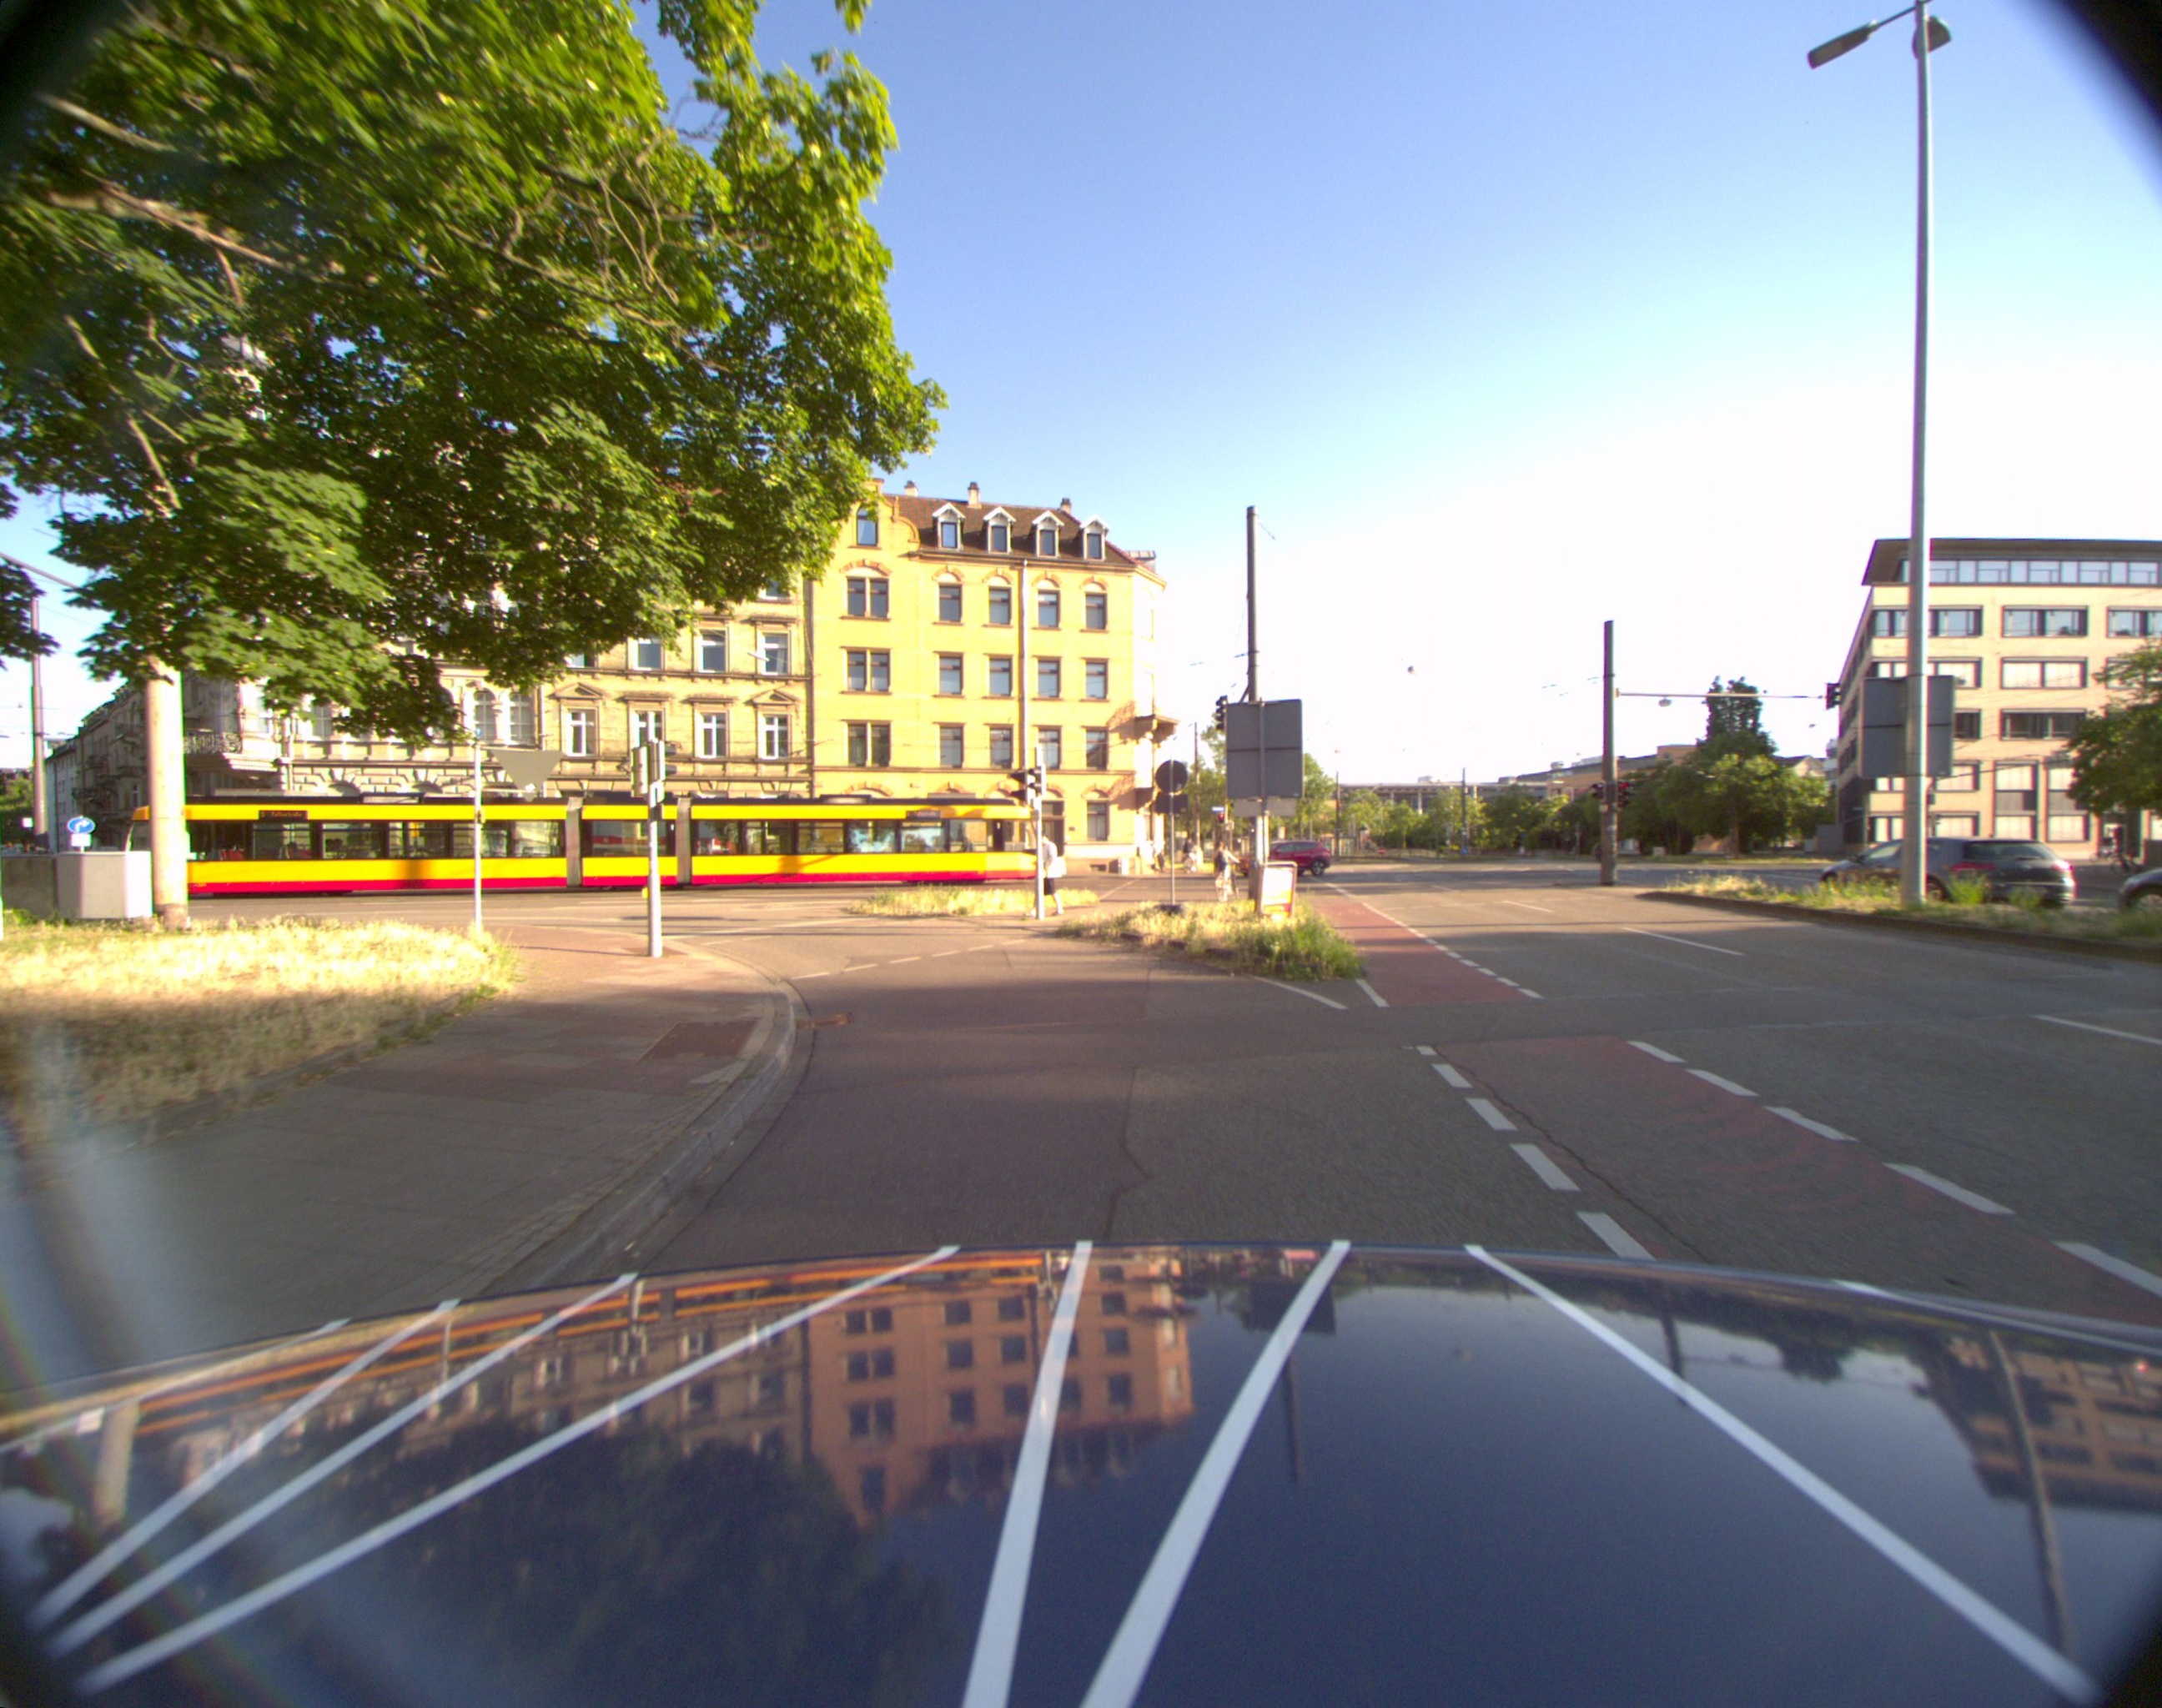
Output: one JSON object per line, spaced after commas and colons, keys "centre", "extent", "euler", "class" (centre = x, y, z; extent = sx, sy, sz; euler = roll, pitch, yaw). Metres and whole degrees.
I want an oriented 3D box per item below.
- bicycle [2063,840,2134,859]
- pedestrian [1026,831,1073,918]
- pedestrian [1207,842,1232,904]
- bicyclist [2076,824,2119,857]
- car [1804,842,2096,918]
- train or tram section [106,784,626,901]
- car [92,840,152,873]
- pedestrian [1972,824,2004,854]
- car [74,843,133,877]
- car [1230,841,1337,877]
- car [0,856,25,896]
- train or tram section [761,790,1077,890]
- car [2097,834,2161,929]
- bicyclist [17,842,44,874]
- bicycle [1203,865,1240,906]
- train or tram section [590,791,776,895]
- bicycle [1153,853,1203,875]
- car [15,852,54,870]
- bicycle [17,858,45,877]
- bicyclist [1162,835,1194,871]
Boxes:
{"centre": [62.009, -0.267, 46.333], "extent": [2.824, 1.129, 1.012], "euler": [0, 2, 2], "class": "bicycle"}
{"centre": [-0.648, 0.414, 15.945], "extent": [0.826, 1.778, 0.912], "euler": [0, 1, 8], "class": "pedestrian"}
{"centre": [3.688, 0.501, 20.274], "extent": [0.488, 1.622, 0.526], "euler": [0, 1, 32], "class": "pedestrian"}
{"centre": [61.934, -0.806, 46.311], "extent": [1.250, 2.002, 0.995], "euler": [0, 1, 1], "class": "bicyclist"}
{"centre": [16.839, 0.420, 15.104], "extent": [1.721, 1.289, 4.253], "euler": [0, 1, 15], "class": "car"}
{"centre": [-23.046, -0.416, 25.511], "extent": [13.019, 3.488, 2.866], "euler": [-1, 1, -12], "class": "train or tram section"}
{"centre": [-50.543, 0.113, 40.094], "extent": [3.988, 1.652, 1.742], "euler": [0, 1, 41], "class": "car"}
{"centre": [60.652, -1.015, 50.816], "extent": [0.988, 2.002, 0.930], "euler": [-1, 1, -1], "class": "pedestrian"}
{"centre": [-59.395, 0.339, 46.150], "extent": [4.622, 2.002, 2.004], "euler": [0, 1, 36], "class": "car"}
{"centre": [9.383, 0.196, 35.254], "extent": [4.467, 1.605, 1.819], "euler": [-1, 1, -14], "class": "car"}
{"centre": [-40.000, 0.796, 26.130], "extent": [4.164, 1.372, 1.813], "euler": [0, 1, -11], "class": "car"}
{"centre": [-5.983, -0.548, 29.264], "extent": [11.300, 3.488, 2.866], "euler": [-1, 1, -12], "class": "train or tram section"}
{"centre": [15.181, 0.385, 8.763], "extent": [1.721, 1.289, 4.381], "euler": [0, 1, 13], "class": "car"}
{"centre": [-61.709, 0.223, 44.651], "extent": [1.209, 1.830, 0.731], "euler": [0, 1, 43], "class": "bicyclist"}
{"centre": [3.760, 0.816, 20.252], "extent": [0.398, 1.023, 1.675], "euler": [0, 1, 32], "class": "bicycle"}
{"centre": [-14.118, -0.417, 27.436], "extent": [5.305, 3.488, 2.866], "euler": [-1, 1, -12], "class": "train or tram section"}
{"centre": [4.984, 0.481, 38.781], "extent": [1.069, 1.018, 2.981], "euler": [0, 1, 40], "class": "bicycle"}
{"centre": [-96.462, 0.627, 70.043], "extent": [3.988, 1.630, 2.004], "euler": [0, 1, 35], "class": "car"}
{"centre": [-61.675, 0.778, 44.649], "extent": [2.110, 1.077, 0.730], "euler": [0, 1, 42], "class": "bicycle"}
{"centre": [4.932, -0.058, 38.734], "extent": [1.069, 1.831, 1.306], "euler": [1, 1, 40], "class": "bicyclist"}
